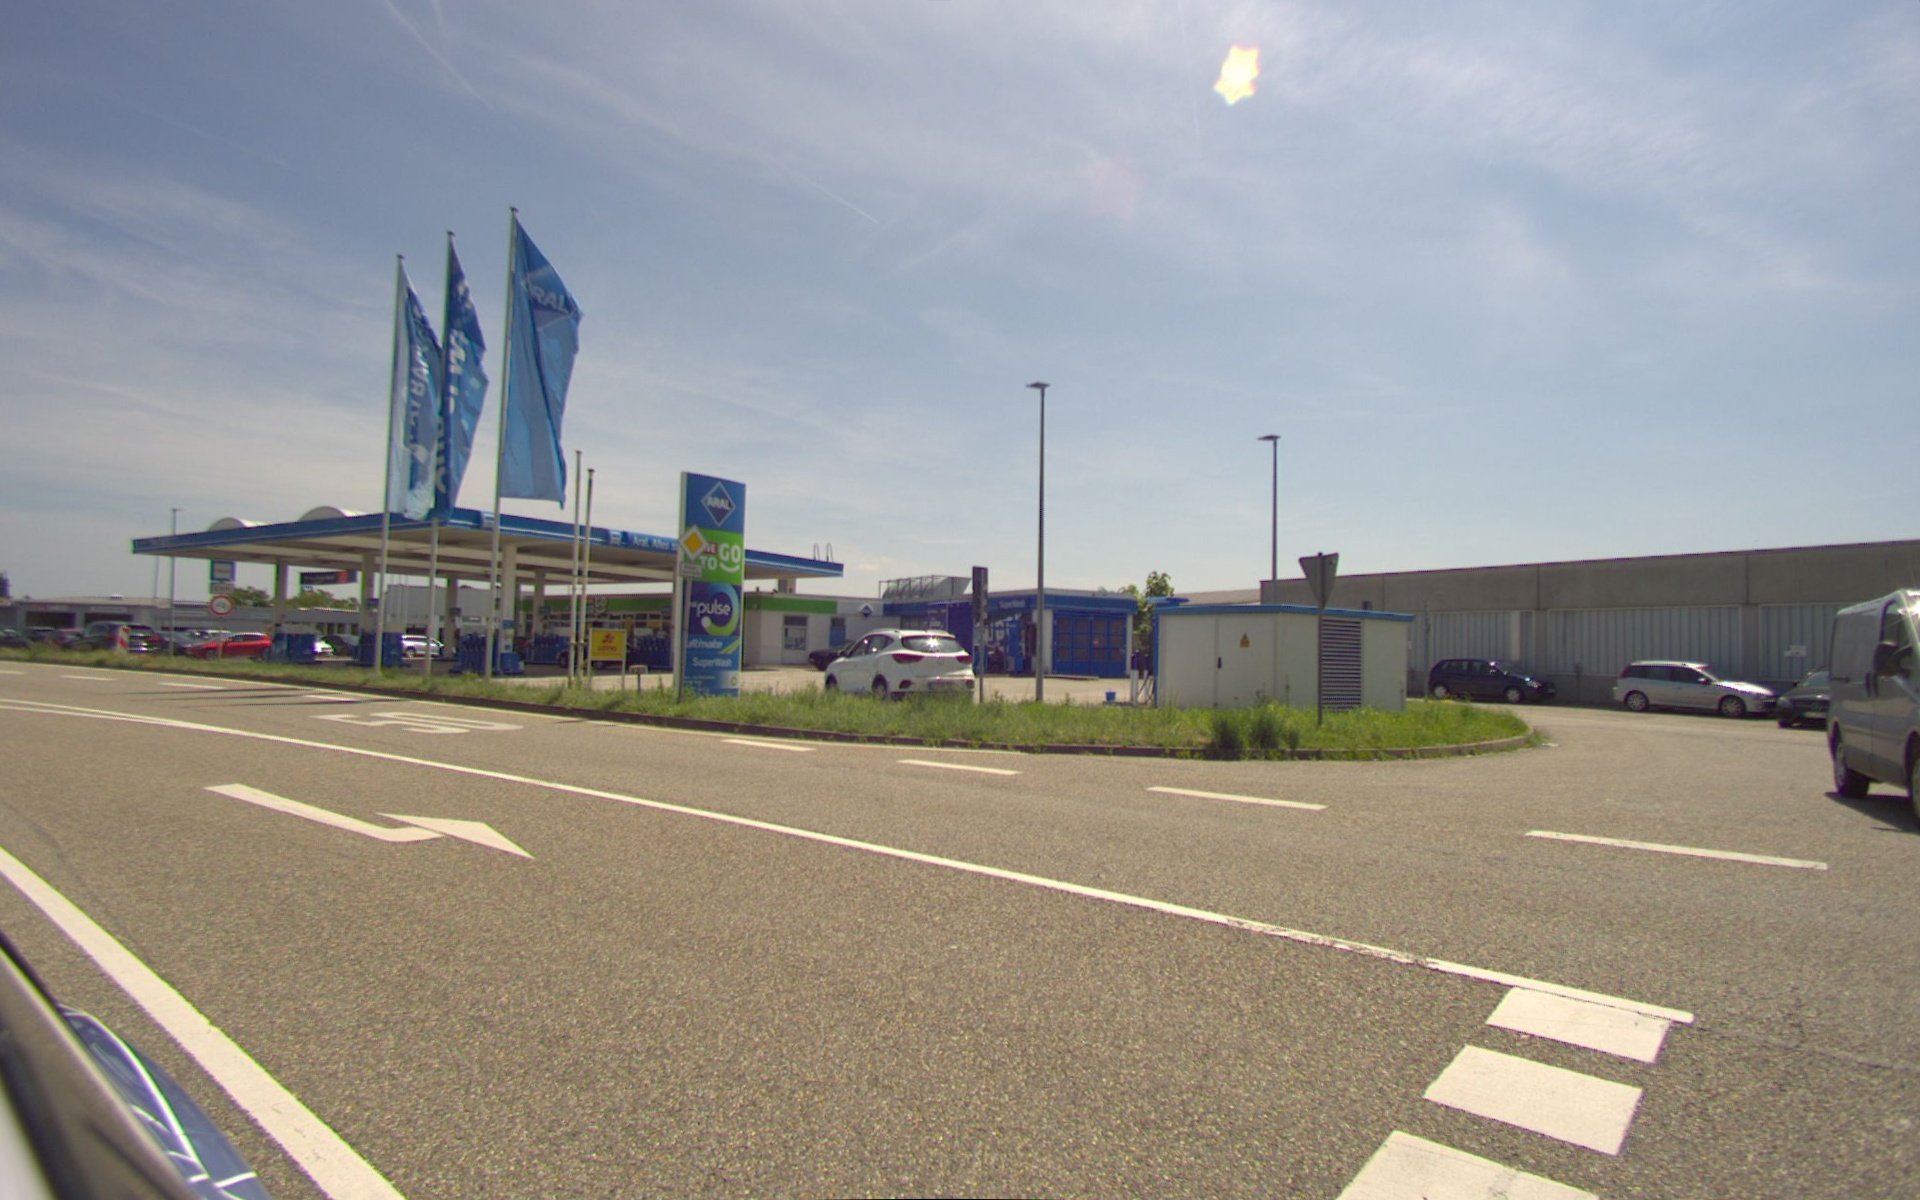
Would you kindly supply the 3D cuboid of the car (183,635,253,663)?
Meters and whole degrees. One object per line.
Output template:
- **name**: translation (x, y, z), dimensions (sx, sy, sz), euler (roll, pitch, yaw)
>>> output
- **car**: translation (-43.574, 2.895, 59.412), dimensions (3.980, 1.547, 1.696), euler (0, -3, 27)

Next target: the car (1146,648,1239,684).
- **car**: translation (10.171, 2.878, 44.531), dimensions (1.730, 1.453, 3.910), euler (3, -4, -33)

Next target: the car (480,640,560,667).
- **car**: translation (-24.903, 3.015, 57.210), dimensions (4.368, 1.389, 1.978), euler (-1, -4, 32)

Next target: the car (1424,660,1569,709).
- **car**: translation (17.737, 2.754, 33.627), dimensions (1.730, 1.453, 3.910), euler (3, -4, -33)

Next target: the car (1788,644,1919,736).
- **car**: translation (21.679, 2.119, 24.311), dimensions (3.932, 2.029, 1.603), euler (3, -4, -33)

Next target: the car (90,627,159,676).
- **car**: translation (-31.438, 1.922, 38.025), dimensions (1.806, 1.732, 4.575), euler (4, -4, -41)

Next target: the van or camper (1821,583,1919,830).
- **van or camper**: translation (8.909, 0.908, 8.415), dimensions (1.898, 1.919, 4.810), euler (-1, -4, 31)

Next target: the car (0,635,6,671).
- **car**: translation (-47.379, 2.497, 47.463), dimensions (1.813, 1.717, 4.008), euler (2, -2, -9)

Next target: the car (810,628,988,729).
- **car**: translation (-1.351, 1.473, 20.219), dimensions (1.836, 1.725, 4.533), euler (2, -2, -27)

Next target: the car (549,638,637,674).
- **car**: translation (-16.844, 2.554, 46.363), dimensions (4.095, 1.489, 1.589), euler (0, -4, 33)

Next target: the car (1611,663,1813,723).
- **car**: translation (20.913, 2.538, 28.344), dimensions (1.886, 1.439, 4.115), euler (3, -3, -29)

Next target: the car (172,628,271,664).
- **car**: translation (-41.012, 2.587, 56.256), dimensions (1.995, 1.918, 3.954), euler (-1, -4, 34)
